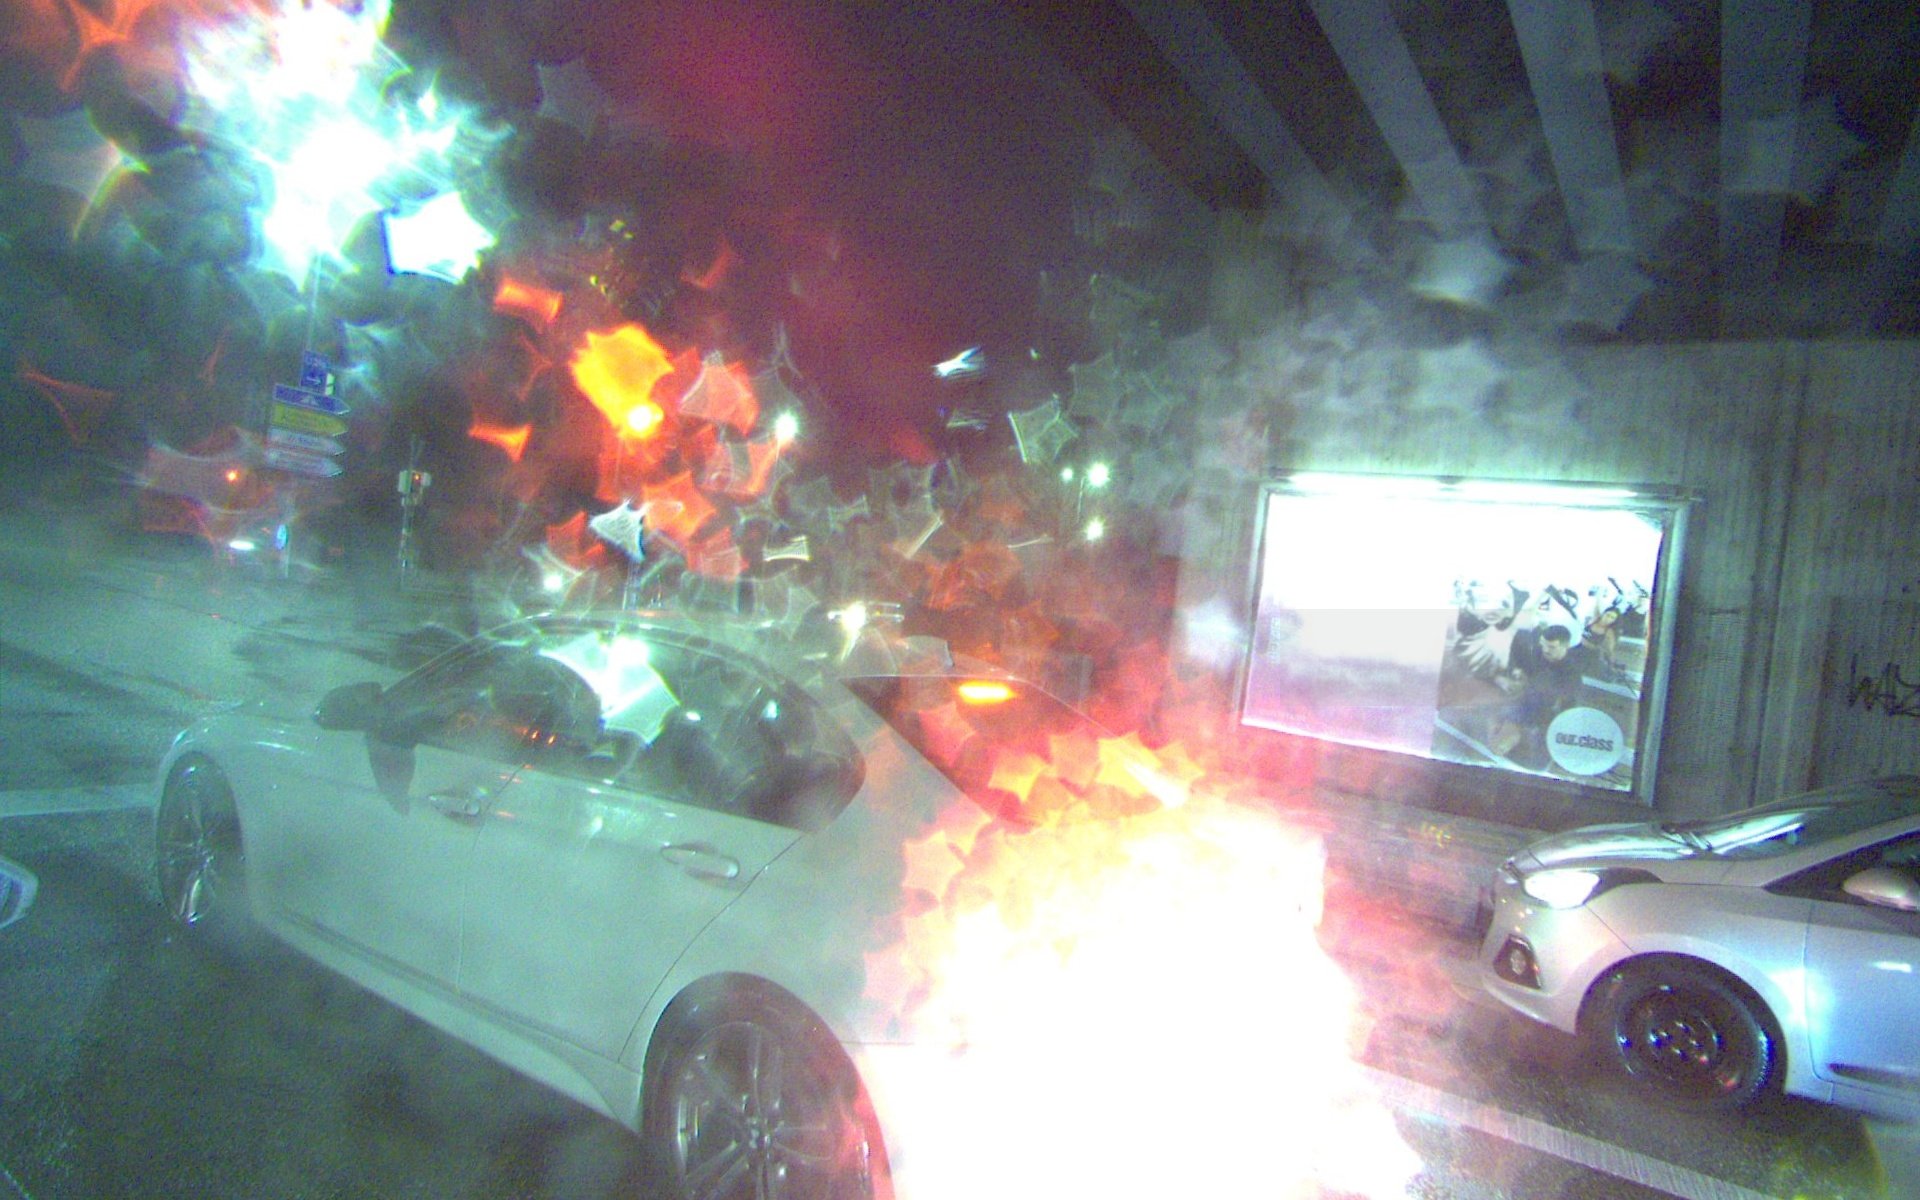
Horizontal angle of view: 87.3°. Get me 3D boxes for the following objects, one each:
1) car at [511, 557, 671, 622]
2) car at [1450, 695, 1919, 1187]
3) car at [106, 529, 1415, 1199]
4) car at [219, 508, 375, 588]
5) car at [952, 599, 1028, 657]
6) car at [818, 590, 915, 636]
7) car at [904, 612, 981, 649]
[{"bbox_3d":[-12.679,-0.304,34.826,1.826,1.609,4.850,6,-2,38],"label":"car"},{"bbox_3d":[4.314,1.405,3.921,4.092,1.465,1.722,6,0,31],"label":"car"},{"bbox_3d":[-0.932,0.707,3.492,4.309,1.465,1.722,6,0,31],"label":"car"},{"bbox_3d":[-19.852,-1.520,30.240,1.661,1.859,3.419,6,-2,36],"label":"car"},{"bbox_3d":[1.295,1.216,41.822,1.674,2.037,3.566,6,-2,26],"label":"car"},{"bbox_3d":[-4.290,0.627,46.767,1.827,1.609,4.335,6,-2,40],"label":"car"},{"bbox_3d":[-0.955,1.753,57.414,1.827,1.609,4.335,6,-2,40],"label":"car"}]
